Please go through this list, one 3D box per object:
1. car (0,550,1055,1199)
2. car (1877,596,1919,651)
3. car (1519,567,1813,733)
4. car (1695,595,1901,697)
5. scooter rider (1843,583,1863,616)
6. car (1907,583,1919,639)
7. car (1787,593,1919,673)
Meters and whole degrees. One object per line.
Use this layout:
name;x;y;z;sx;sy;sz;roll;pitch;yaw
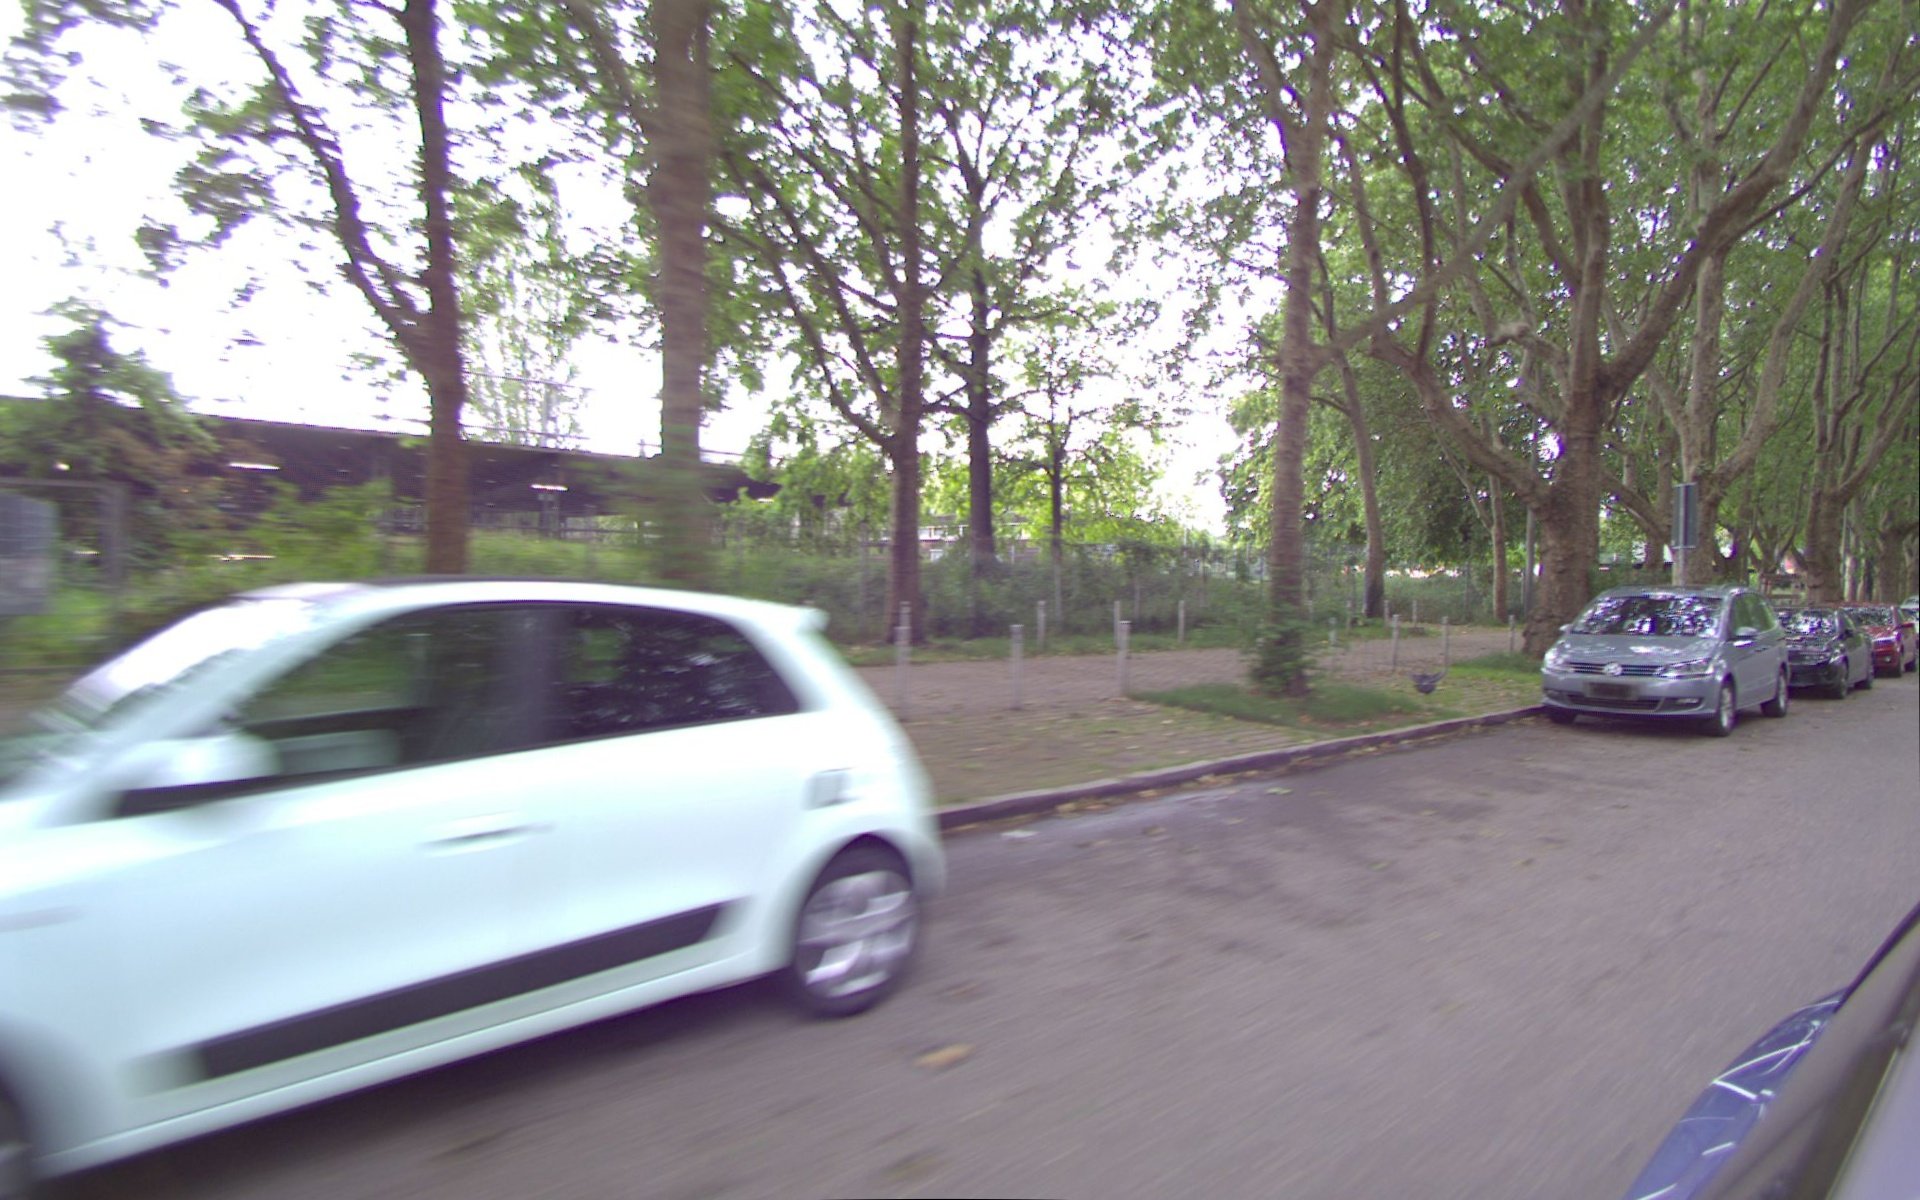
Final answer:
car;-1.732;0.633;3.482;4.023;1.545;1.811;0;2;-40
car;27.386;0.644;28.442;4.506;1.445;1.880;0;2;-41
car;8.996;0.476;12.731;4.649;1.701;1.985;-1;2;-41
car;14.114;0.669;16.957;4.400;1.445;1.881;0;1;-40
scooter rider;50.309;-0.011;57.038;0.577;1.822;0.678;1;3;-40
car;32.184;0.366;32.644;4.427;1.760;1.906;0;1;-41
car;19.225;0.631;21.527;4.104;1.500;1.860;0;1;-41
